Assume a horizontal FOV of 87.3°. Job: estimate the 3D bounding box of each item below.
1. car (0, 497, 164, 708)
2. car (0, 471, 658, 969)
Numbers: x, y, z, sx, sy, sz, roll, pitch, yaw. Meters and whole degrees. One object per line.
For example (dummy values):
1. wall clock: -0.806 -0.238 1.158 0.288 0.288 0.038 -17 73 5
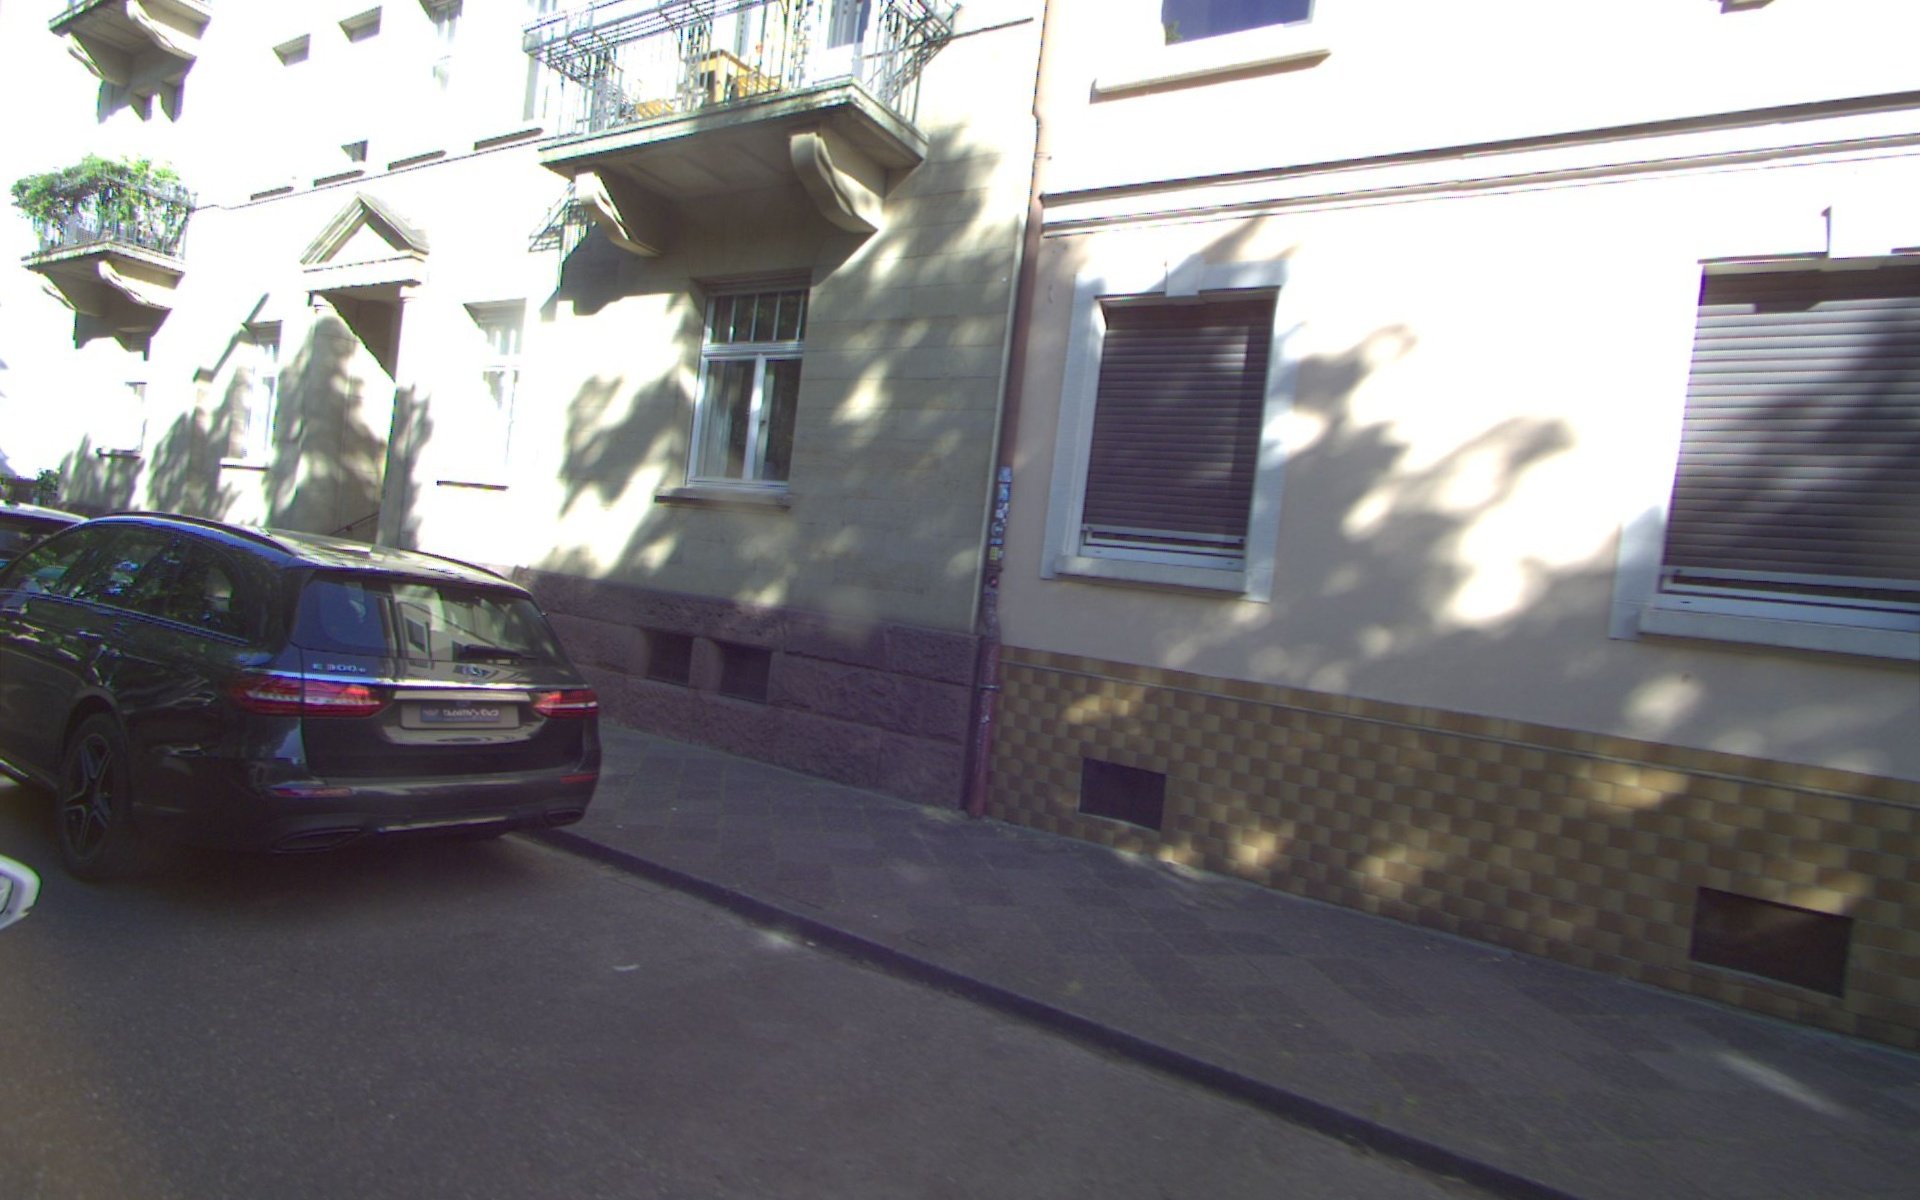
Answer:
1. car: -8.096 -0.152 8.008 3.573 1.431 1.593 7 -2 33
2. car: -3.787 0.281 5.287 4.250 1.583 1.806 7 1 33
